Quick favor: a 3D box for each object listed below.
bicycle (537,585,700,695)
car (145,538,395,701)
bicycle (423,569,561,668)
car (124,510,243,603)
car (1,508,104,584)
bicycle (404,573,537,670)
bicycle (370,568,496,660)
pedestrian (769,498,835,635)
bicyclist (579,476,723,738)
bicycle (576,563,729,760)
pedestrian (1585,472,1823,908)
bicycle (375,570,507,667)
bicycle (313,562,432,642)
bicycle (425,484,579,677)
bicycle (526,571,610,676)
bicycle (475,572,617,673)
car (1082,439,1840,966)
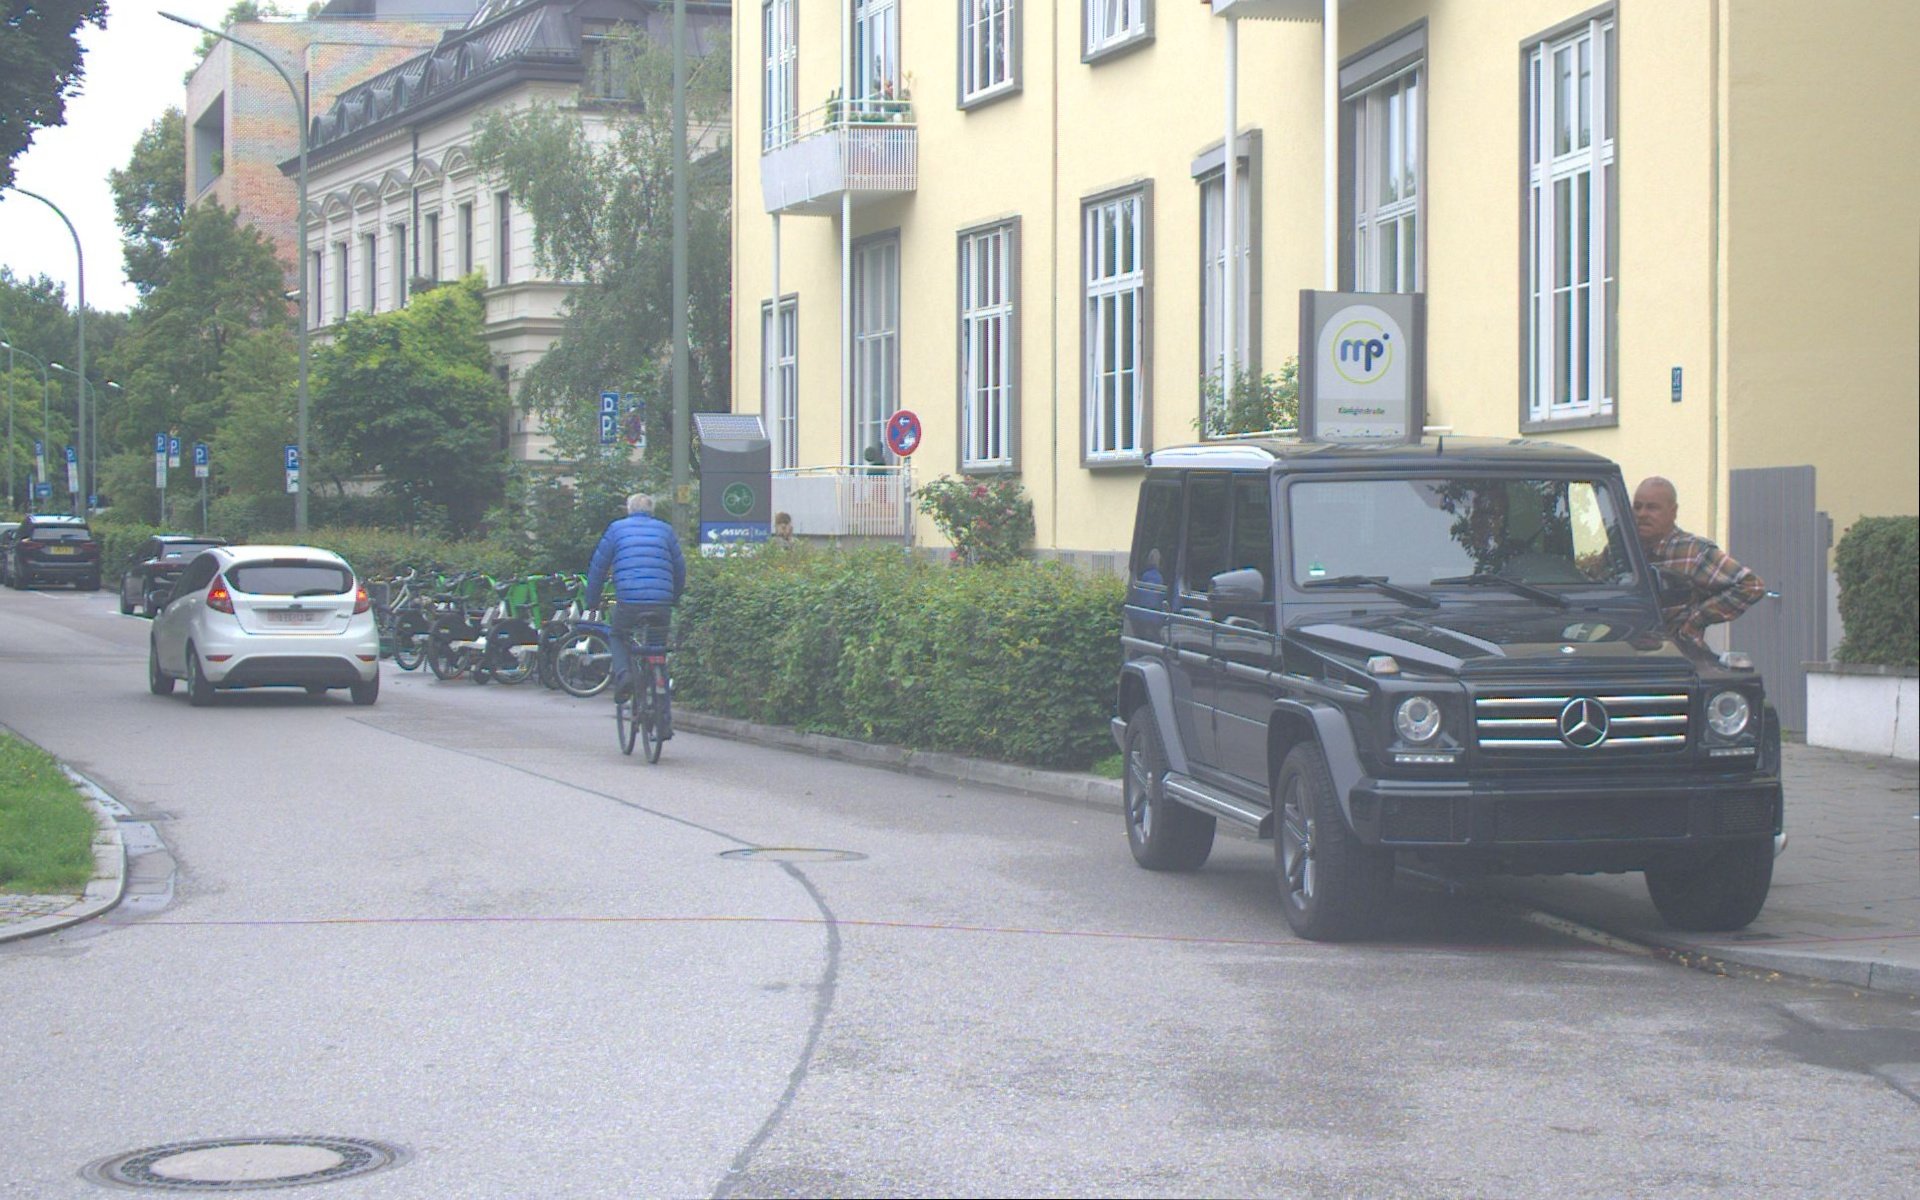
[{"bbox_3d":[-3.345,0.385,33.703,1.532,1.011,0.367,-2,2,-22],"label":"bicycle"},{"bbox_3d":[-6.497,0.134,32.102,1.747,1.401,3.728,-1,1,-20],"label":"car"},{"bbox_3d":[-5.098,0.189,37.517,0.409,1.011,1.534,0,2,44],"label":"bicycle"},{"bbox_3d":[-13.560,-0.781,59.916,1.646,1.553,3.560,-1,2,-19],"label":"car"},{"bbox_3d":[-20.686,-1.255,78.302,1.792,1.674,4.001,-1,2,-21],"label":"car"},{"bbox_3d":[-5.398,0.226,37.974,0.409,1.011,1.534,0,2,40],"label":"bicycle"},{"bbox_3d":[-6.142,0.155,40.113,0.409,1.011,1.534,0,2,40],"label":"bicycle"},{"bbox_3d":[-1.974,-0.428,42.919,0.631,1.678,0.698,-2,2,-18],"label":"pedestrian"},{"bbox_3d":[-2.150,0.032,23.788,0.914,1.758,1.215,-1,1,-8],"label":"bicyclist"},{"bbox_3d":[-2.157,0.391,23.817,0.920,1.248,2.322,-1,2,-8],"label":"bicycle"},{"bbox_3d":[3.085,0.352,14.340,0.848,1.751,0.953,-1,1,6],"label":"pedestrian"},{"bbox_3d":[-5.773,0.197,38.309,0.409,1.011,1.534,0,2,40],"label":"bicycle"},{"bbox_3d":[-7.877,0.022,46.143,1.533,1.011,0.409,-3,2,-36],"label":"bicycle"},{"bbox_3d":[-4.912,-0.227,36.965,0.456,2.006,1.673,0,2,44],"label":"bicycle"},{"bbox_3d":[-4.042,0.231,35.517,0.366,1.011,1.537,-1,2,12],"label":"bicycle"},{"bbox_3d":[-4.405,0.227,36.616,1.533,1.011,0.367,-3,2,-41],"label":"bicycle"},{"bbox_3d":[1.914,0.302,14.722,1.873,1.881,4.620,-1,2,-10],"label":"car"}]
